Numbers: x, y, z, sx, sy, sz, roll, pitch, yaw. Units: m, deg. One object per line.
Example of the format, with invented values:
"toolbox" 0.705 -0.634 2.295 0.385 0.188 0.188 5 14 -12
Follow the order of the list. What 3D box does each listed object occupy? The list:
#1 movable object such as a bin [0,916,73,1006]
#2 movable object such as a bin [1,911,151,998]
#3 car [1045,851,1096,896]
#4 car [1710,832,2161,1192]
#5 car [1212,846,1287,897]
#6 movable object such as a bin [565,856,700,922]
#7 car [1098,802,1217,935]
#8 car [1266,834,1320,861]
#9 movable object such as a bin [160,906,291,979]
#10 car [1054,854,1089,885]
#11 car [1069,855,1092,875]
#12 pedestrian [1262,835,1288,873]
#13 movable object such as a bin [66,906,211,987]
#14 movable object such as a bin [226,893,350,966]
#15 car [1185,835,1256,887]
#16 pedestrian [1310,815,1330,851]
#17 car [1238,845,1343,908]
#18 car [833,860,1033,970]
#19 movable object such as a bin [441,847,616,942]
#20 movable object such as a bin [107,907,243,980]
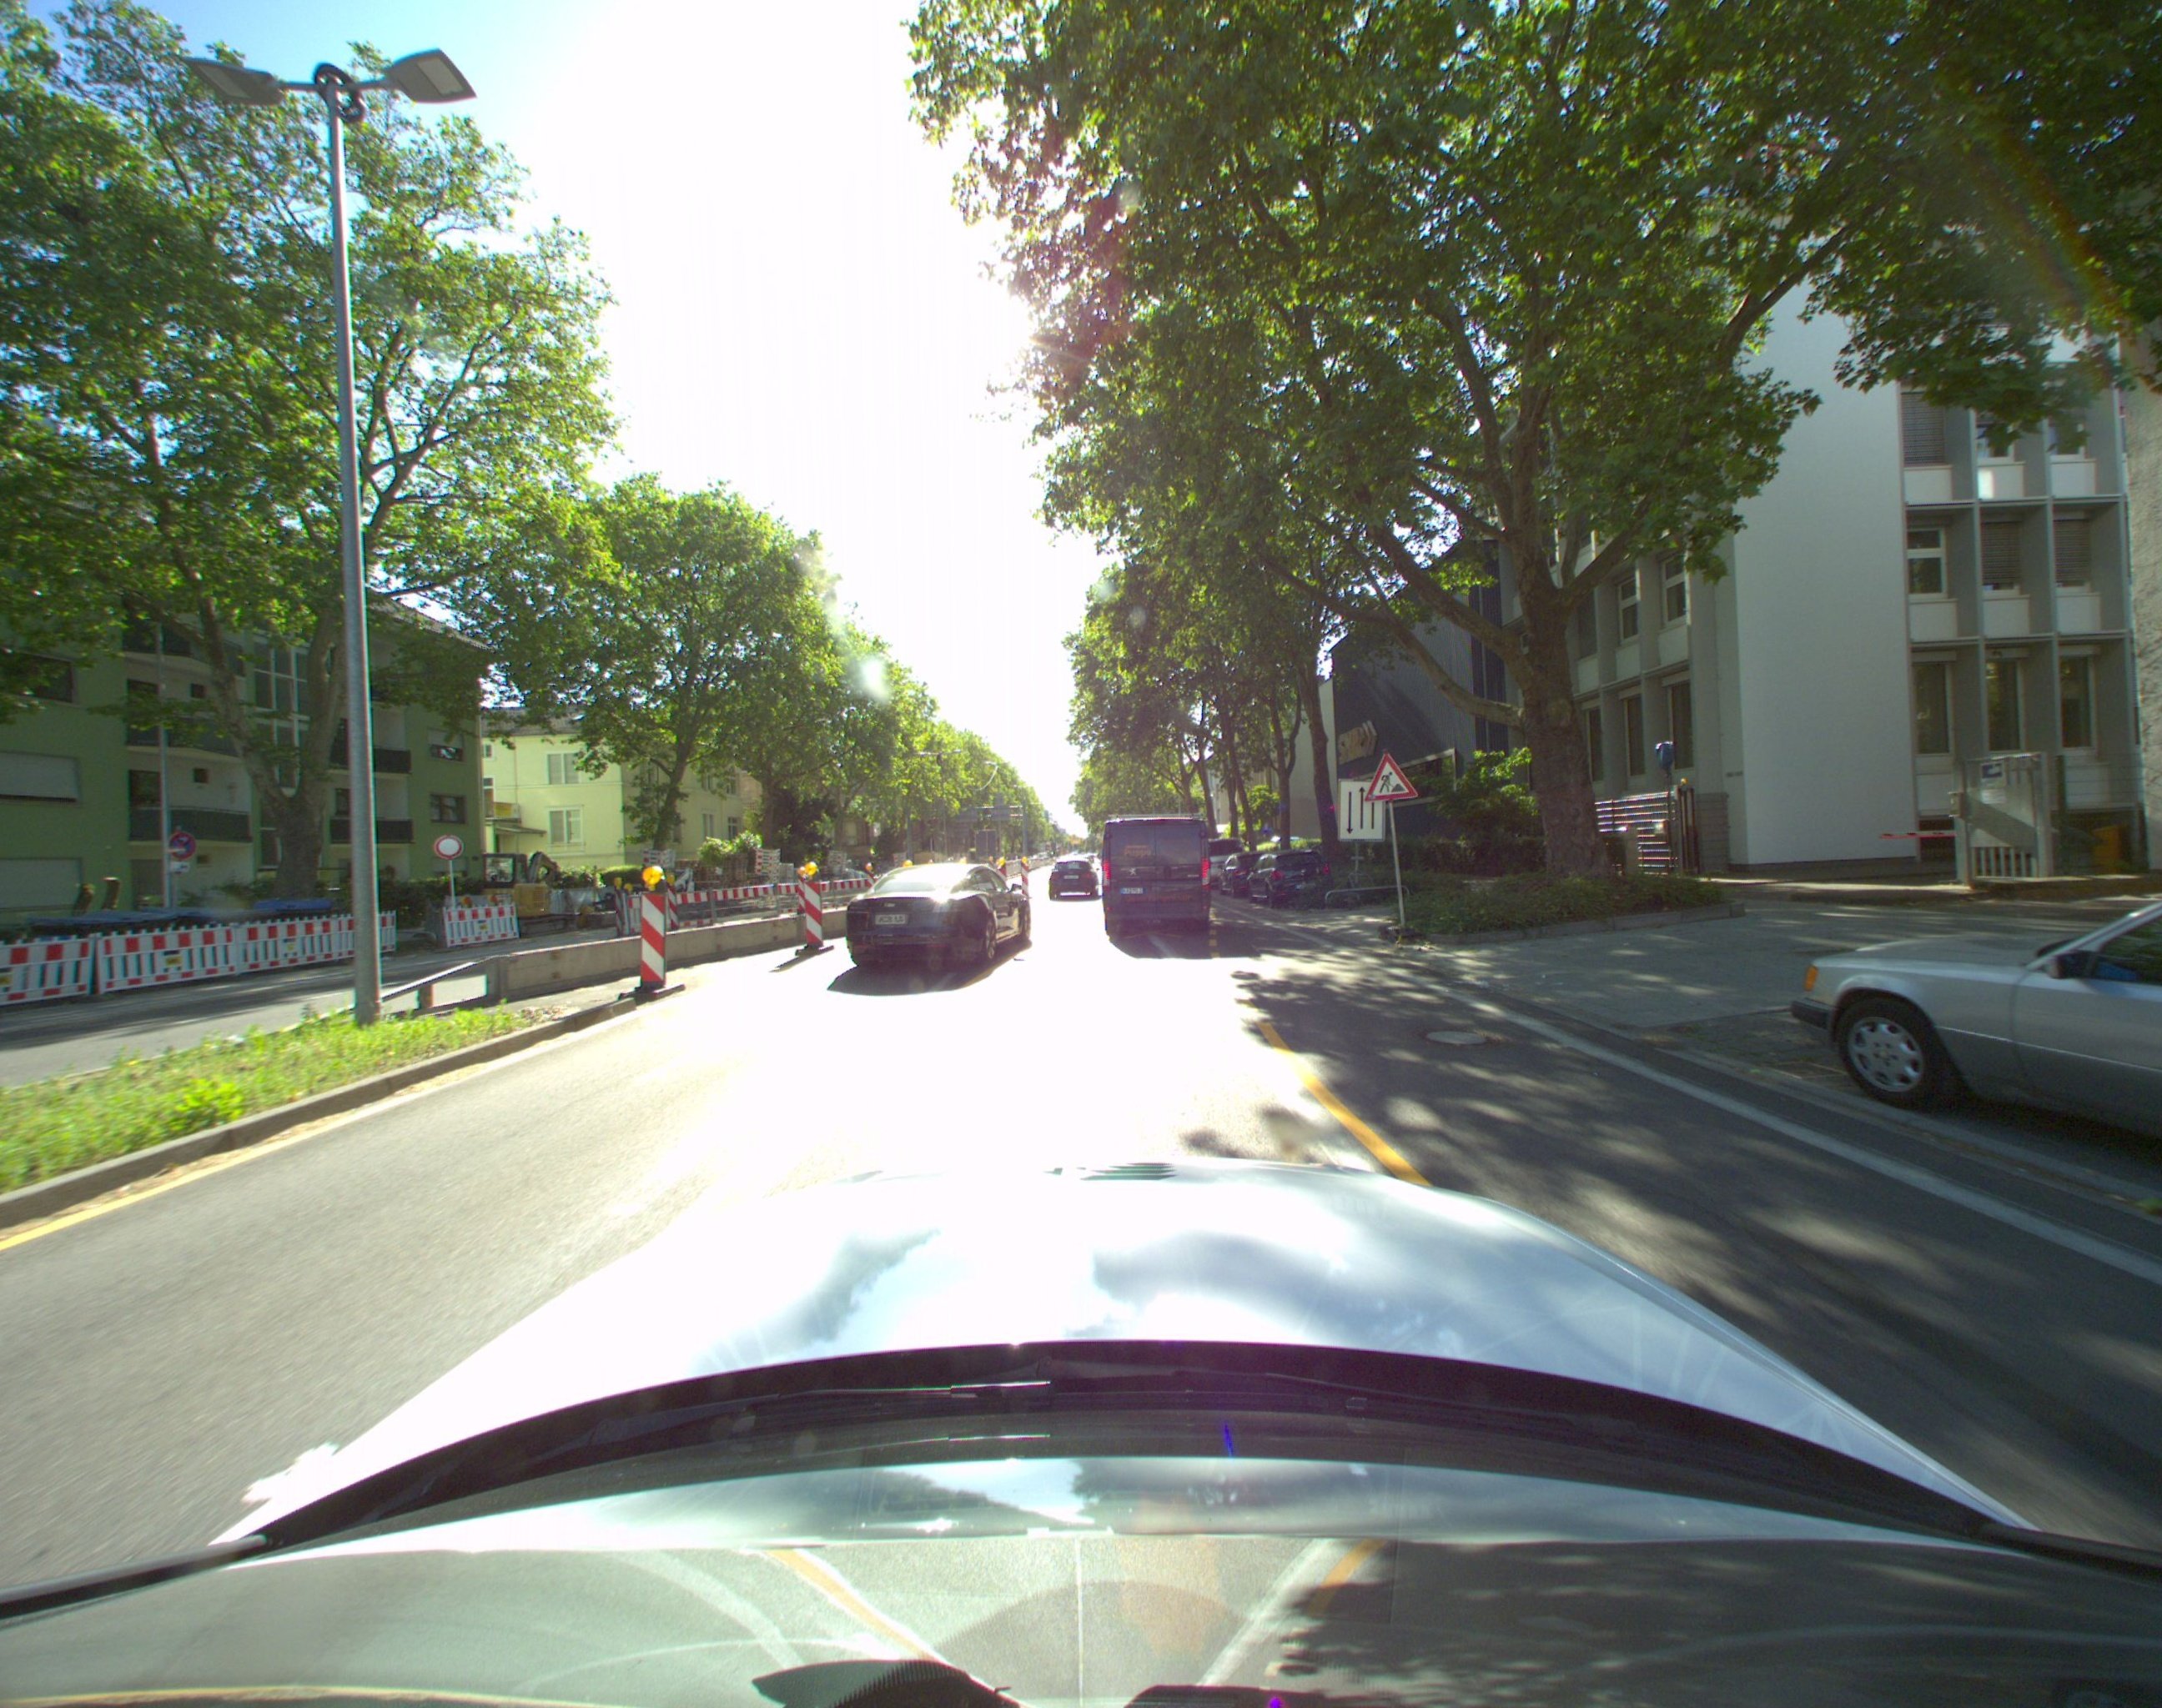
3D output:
"movable object such as a bin" -17.550 1.728 13.010 1.404 1.338 1.157 -2 0 2
"movable object such as a bin" -17.354 1.710 14.098 1.404 1.338 0.936 -2 0 2
"car" -0.419 0.660 30.008 1.741 1.407 3.998 -1 2 -2
"car" 5.416 0.640 3.278 1.847 1.479 4.939 -2 0 -1
"car" 5.588 0.556 27.496 1.652 1.540 4.128 -1 0 0
"movable object such as a bin" -17.788 1.296 32.728 1.985 2.278 5.602 -3 0 3
"car" 1.466 0.244 16.683 2.087 2.355 3.936 -1 1 2
"car" 15.089 -0.434 58.156 1.716 1.853 3.471 -1 0 -33
"movable object such as a bin" -17.201 1.749 16.435 0.976 1.271 1.540 -2 0 0
"car" -0.504 0.752 41.177 1.544 1.425 3.550 -2 0 -4
"car" 0.006 0.733 55.074 1.416 1.225 3.439 -2 0 1
"pedestrian" 8.497 -0.002 35.716 0.726 1.602 1.266 -2 0 -3
"movable object such as a bin" -17.463 1.697 15.131 1.405 1.338 1.069 -2 0 2
"movable object such as a bin" -17.710 1.655 18.253 1.638 1.423 1.252 -2 0 -26
"car" 5.732 0.261 34.187 2.019 1.946 5.272 -2 0 0
"pedestrian" 11.052 -0.973 37.642 0.704 1.648 0.674 0 2 -3
"car" 5.653 0.567 22.506 1.758 1.508 4.250 -2 0 0
"car" -2.062 0.827 12.884 1.916 1.412 4.632 0 -1 5
"movable object such as a bin" -17.713 1.178 26.548 2.141 2.706 5.349 -2 0 -3
"movable object such as a bin" -18.214 1.767 16.430 0.976 1.271 1.540 -2 0 0
